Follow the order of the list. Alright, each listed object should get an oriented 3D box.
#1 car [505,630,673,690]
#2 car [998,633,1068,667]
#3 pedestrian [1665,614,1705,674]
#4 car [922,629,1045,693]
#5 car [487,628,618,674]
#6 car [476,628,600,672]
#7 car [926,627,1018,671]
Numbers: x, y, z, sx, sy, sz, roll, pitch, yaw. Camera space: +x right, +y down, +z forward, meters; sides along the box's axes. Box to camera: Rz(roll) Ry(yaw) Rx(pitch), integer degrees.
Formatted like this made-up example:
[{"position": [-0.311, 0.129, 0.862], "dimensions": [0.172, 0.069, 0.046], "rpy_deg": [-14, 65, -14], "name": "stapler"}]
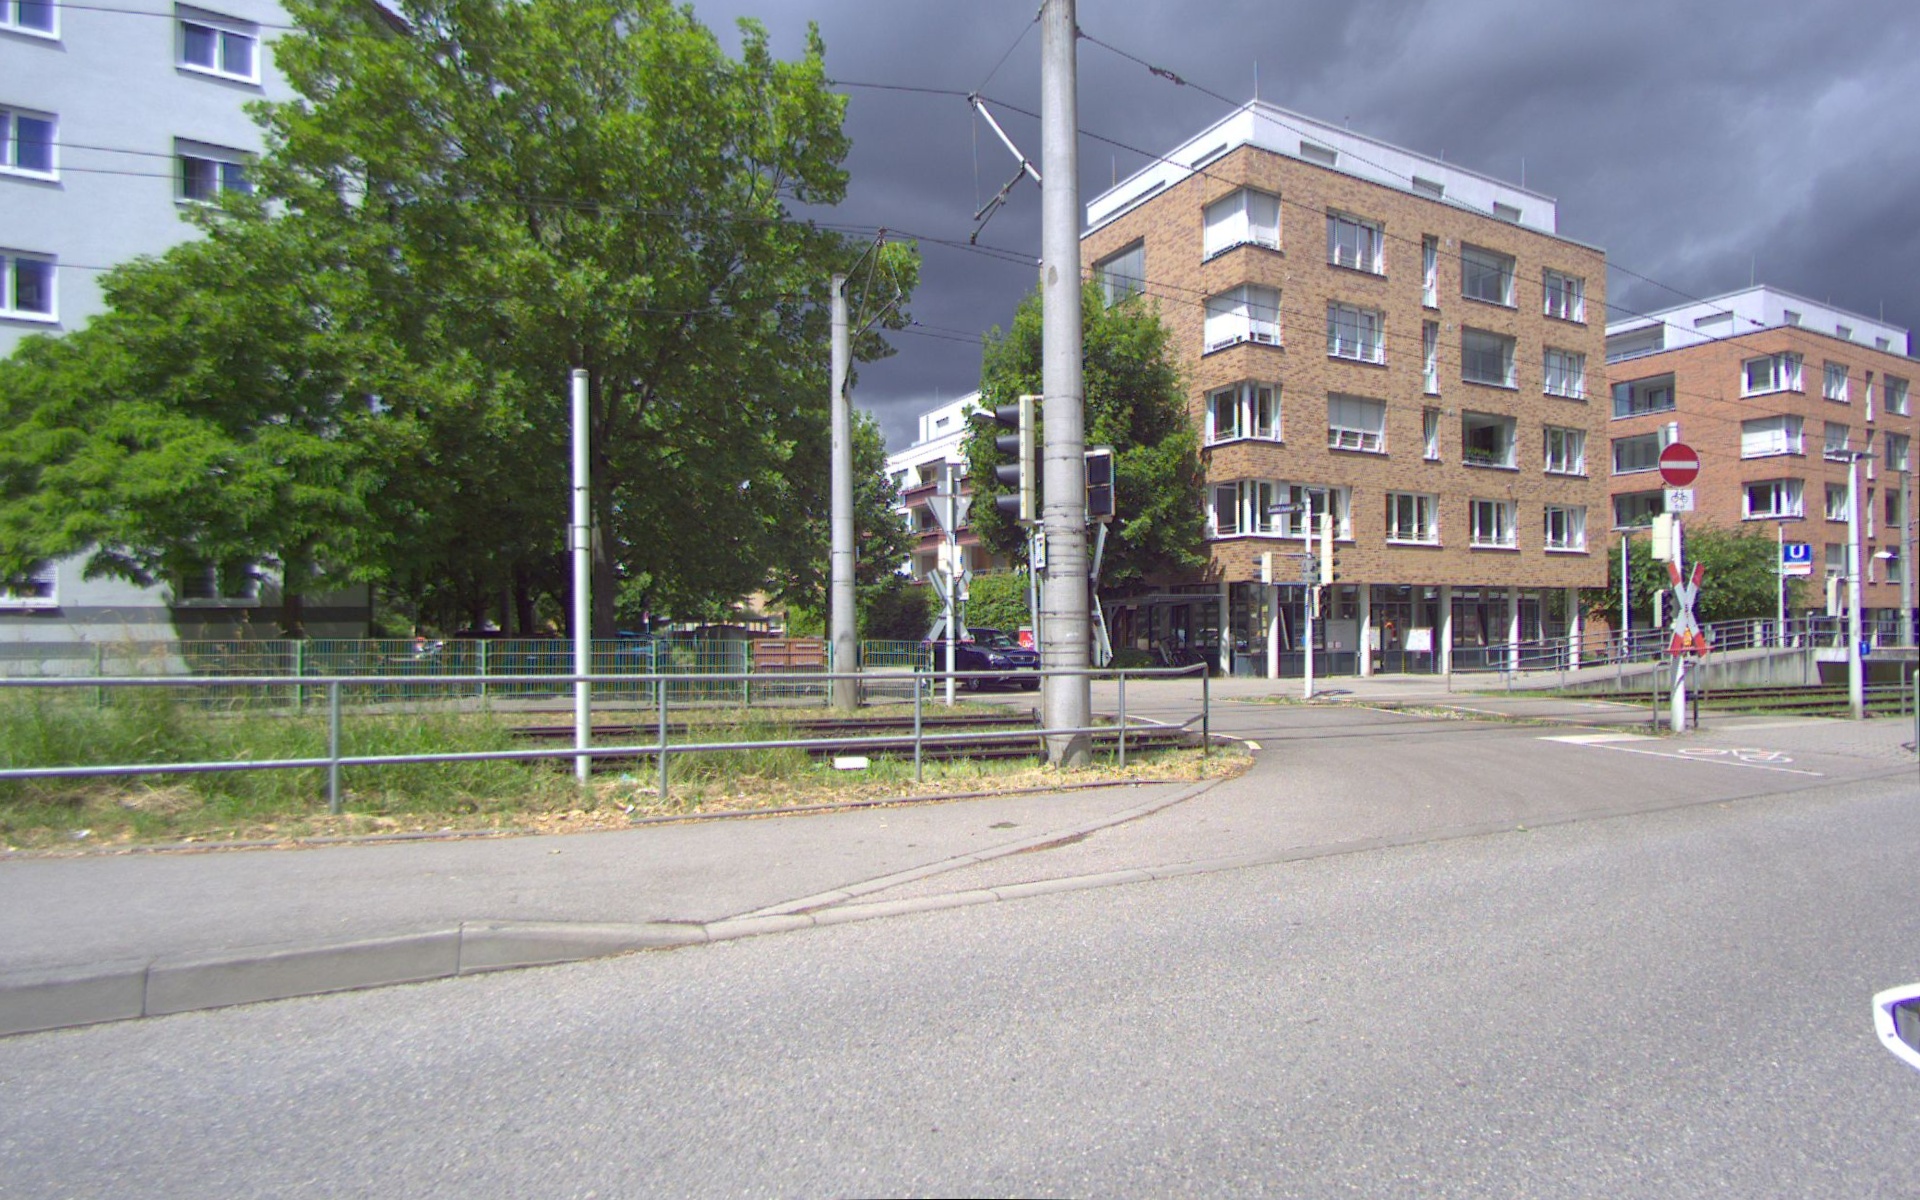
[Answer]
[{"position": [-10.408, 1.668, 28.271], "dimensions": [4.073, 1.576, 1.842], "rpy_deg": [2, -2, -37], "name": "car"}, {"position": [2.480, 1.697, 34.496], "dimensions": [1.135, 1.134, 2.641], "rpy_deg": [1, -2, -30], "name": "car"}, {"position": [22.694, 1.373, 31.453], "dimensions": [0.819, 1.849, 0.740], "rpy_deg": [0, -1, -30], "name": "pedestrian"}, {"position": [0.509, 1.534, 25.236], "dimensions": [1.567, 1.495, 3.661], "rpy_deg": [1, -4, -26], "name": "car"}, {"position": [-14.835, 1.837, 36.642], "dimensions": [4.073, 1.576, 1.842], "rpy_deg": [2, -2, -37], "name": "car"}, {"position": [-16.198, 1.914, 38.644], "dimensions": [4.073, 1.576, 1.842], "rpy_deg": [2, -2, -37], "name": "car"}, {"position": [0.346, 1.649, 34.319], "dimensions": [1.576, 1.417, 3.514], "rpy_deg": [1, -2, -30], "name": "car"}]
